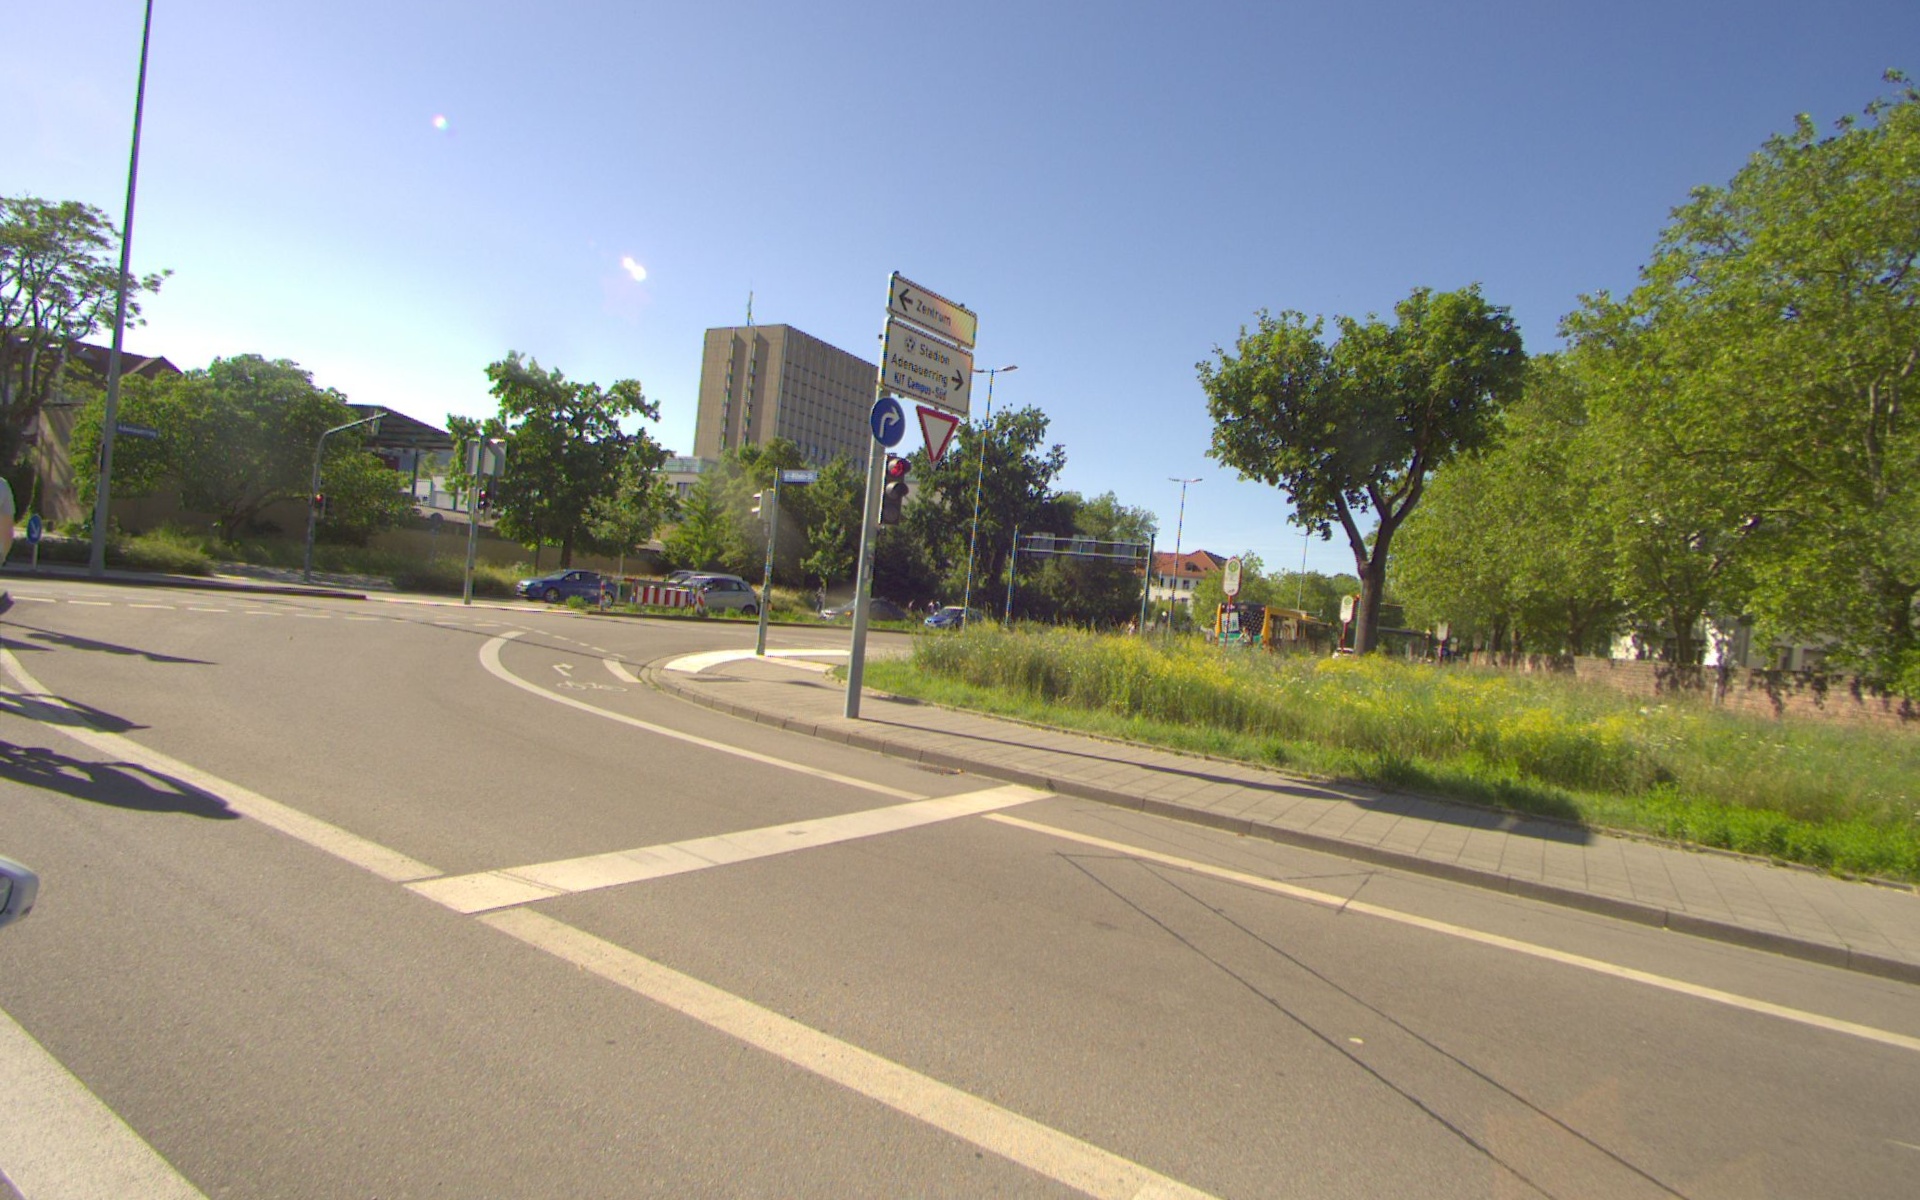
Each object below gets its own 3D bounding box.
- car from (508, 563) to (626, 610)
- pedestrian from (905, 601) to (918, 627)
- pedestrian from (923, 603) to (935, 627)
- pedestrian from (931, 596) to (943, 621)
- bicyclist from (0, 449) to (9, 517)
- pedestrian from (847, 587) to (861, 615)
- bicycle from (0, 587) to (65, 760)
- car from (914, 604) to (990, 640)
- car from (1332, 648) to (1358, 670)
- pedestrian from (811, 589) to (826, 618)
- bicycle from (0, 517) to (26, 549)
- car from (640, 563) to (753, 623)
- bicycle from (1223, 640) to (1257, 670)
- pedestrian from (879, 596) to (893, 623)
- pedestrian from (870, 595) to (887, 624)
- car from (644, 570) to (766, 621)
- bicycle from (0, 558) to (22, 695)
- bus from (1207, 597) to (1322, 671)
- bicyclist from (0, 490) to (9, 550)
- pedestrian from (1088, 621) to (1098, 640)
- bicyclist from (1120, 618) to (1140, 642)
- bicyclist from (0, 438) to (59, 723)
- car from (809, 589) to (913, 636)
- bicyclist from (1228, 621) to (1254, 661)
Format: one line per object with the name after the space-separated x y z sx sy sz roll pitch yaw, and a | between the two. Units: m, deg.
-16.091 -0.515 41.348 1.717 1.453 4.162 7 0 38 | car
-3.523 0.998 72.448 0.519 1.801 0.561 7 1 35 | pedestrian
-2.303 1.106 74.569 0.519 1.716 0.561 7 1 35 | pedestrian
-1.685 0.612 74.165 0.519 1.801 0.561 7 1 35 | pedestrian
-8.139 -0.374 7.787 1.048 1.759 0.647 7 -1 26 | bicyclist
-7.187 0.065 67.980 0.519 1.800 0.561 7 1 37 | pedestrian
-6.296 0.352 6.098 1.946 0.906 0.741 6 -2 33 | bicycle
-0.374 1.138 50.478 1.758 1.448 3.989 6 0 34 | car
32.216 4.934 84.178 1.669 1.525 3.772 6 0 24 | car
-9.025 0.213 64.293 0.519 1.801 0.561 8 2 36 | pedestrian
-31.101 -2.212 31.897 0.686 0.942 2.077 9 2 42 | bicycle
-12.310 -0.274 47.338 1.968 2.131 4.885 6 -2 34 | car
10.316 2.026 37.024 0.509 1.007 2.056 7 0 32 | bicycle
-5.100 0.646 69.417 0.519 1.801 0.561 7 1 35 | pedestrian
-5.469 0.640 67.501 0.702 1.872 0.561 7 1 35 | pedestrian
-9.439 -0.128 37.439 1.840 1.426 4.046 6 0 38 | car
-8.205 0.088 7.782 1.935 1.014 0.661 6 -1 26 | bicycle
15.424 1.805 50.257 2.751 2.662 10.099 6 -2 32 | bus
-31.054 -2.597 31.950 0.644 1.891 1.100 7 1 42 | bicyclist
12.740 2.905 96.360 0.519 1.801 0.562 7 1 32 | pedestrian
12.436 2.195 73.623 0.777 1.649 1.316 7 1 34 | bicyclist
-6.227 -0.171 6.098 1.000 1.688 0.752 6 -1 33 | bicyclist
-4.307 0.580 44.716 1.968 1.604 4.736 6 0 33 | car
10.314 1.520 36.927 0.509 1.368 1.002 7 1 32 | bicyclist
